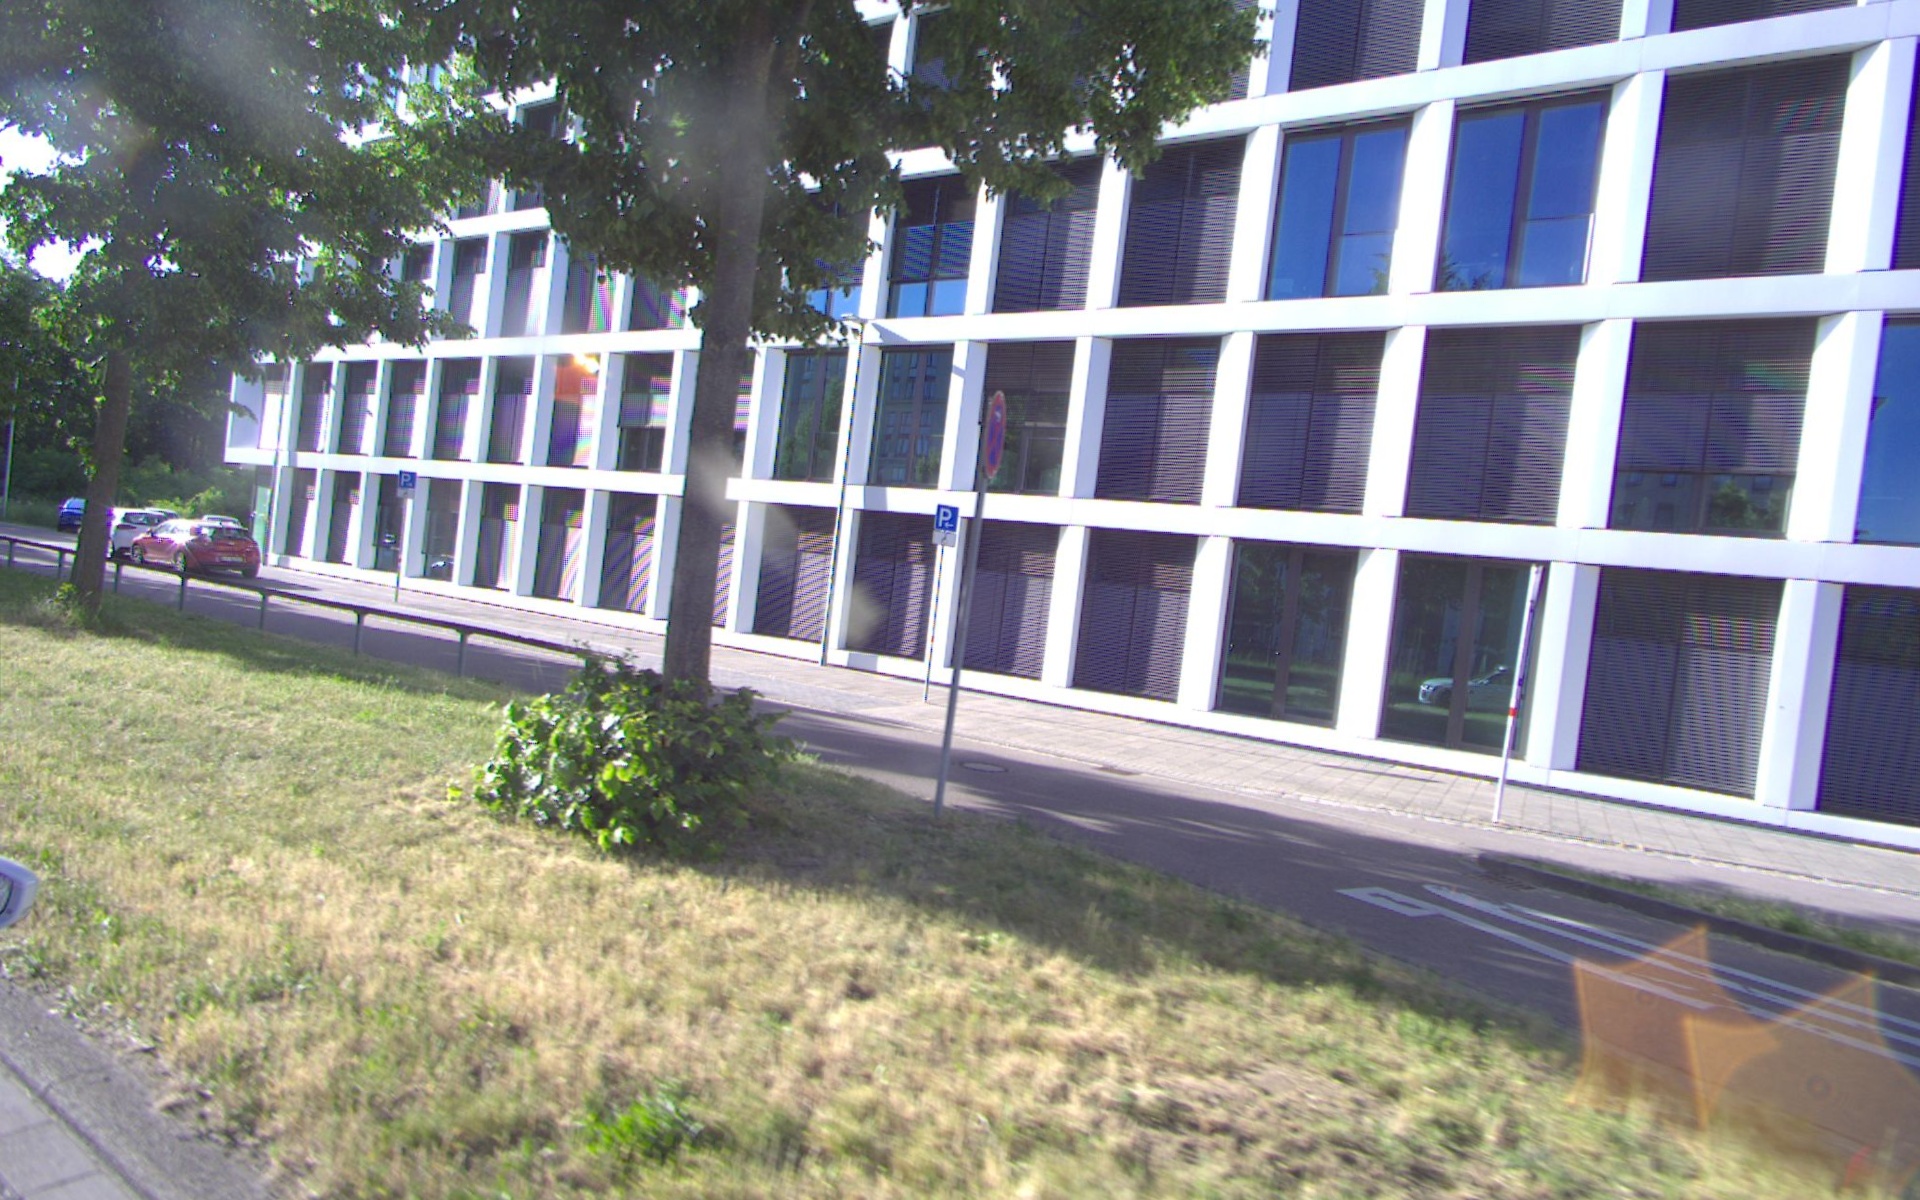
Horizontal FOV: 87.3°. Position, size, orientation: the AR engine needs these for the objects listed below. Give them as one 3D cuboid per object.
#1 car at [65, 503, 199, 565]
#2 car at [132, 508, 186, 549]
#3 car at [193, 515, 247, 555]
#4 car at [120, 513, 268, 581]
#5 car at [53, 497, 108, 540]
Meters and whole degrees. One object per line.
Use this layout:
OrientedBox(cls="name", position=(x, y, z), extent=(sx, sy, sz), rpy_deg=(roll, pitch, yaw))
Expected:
OrientedBox(cls="car", position=(-25.353, -2.039, 30.767), extent=(4.332, 1.506, 1.992), rpy_deg=(6, 2, 34))
OrientedBox(cls="car", position=(-37.233, -3.322, 46.703), extent=(1.740, 1.553, 3.839), rpy_deg=(9, -2, -40))
OrientedBox(cls="car", position=(-35.372, -3.102, 48.073), extent=(1.711, 1.558, 3.908), rpy_deg=(9, -2, -40))
OrientedBox(cls="car", position=(-21.337, -1.485, 27.996), extent=(4.202, 1.506, 1.865), rpy_deg=(6, 2, 32))
OrientedBox(cls="car", position=(-39.065, -3.641, 44.745), extent=(1.585, 1.566, 3.777), rpy_deg=(6, 2, -39))
